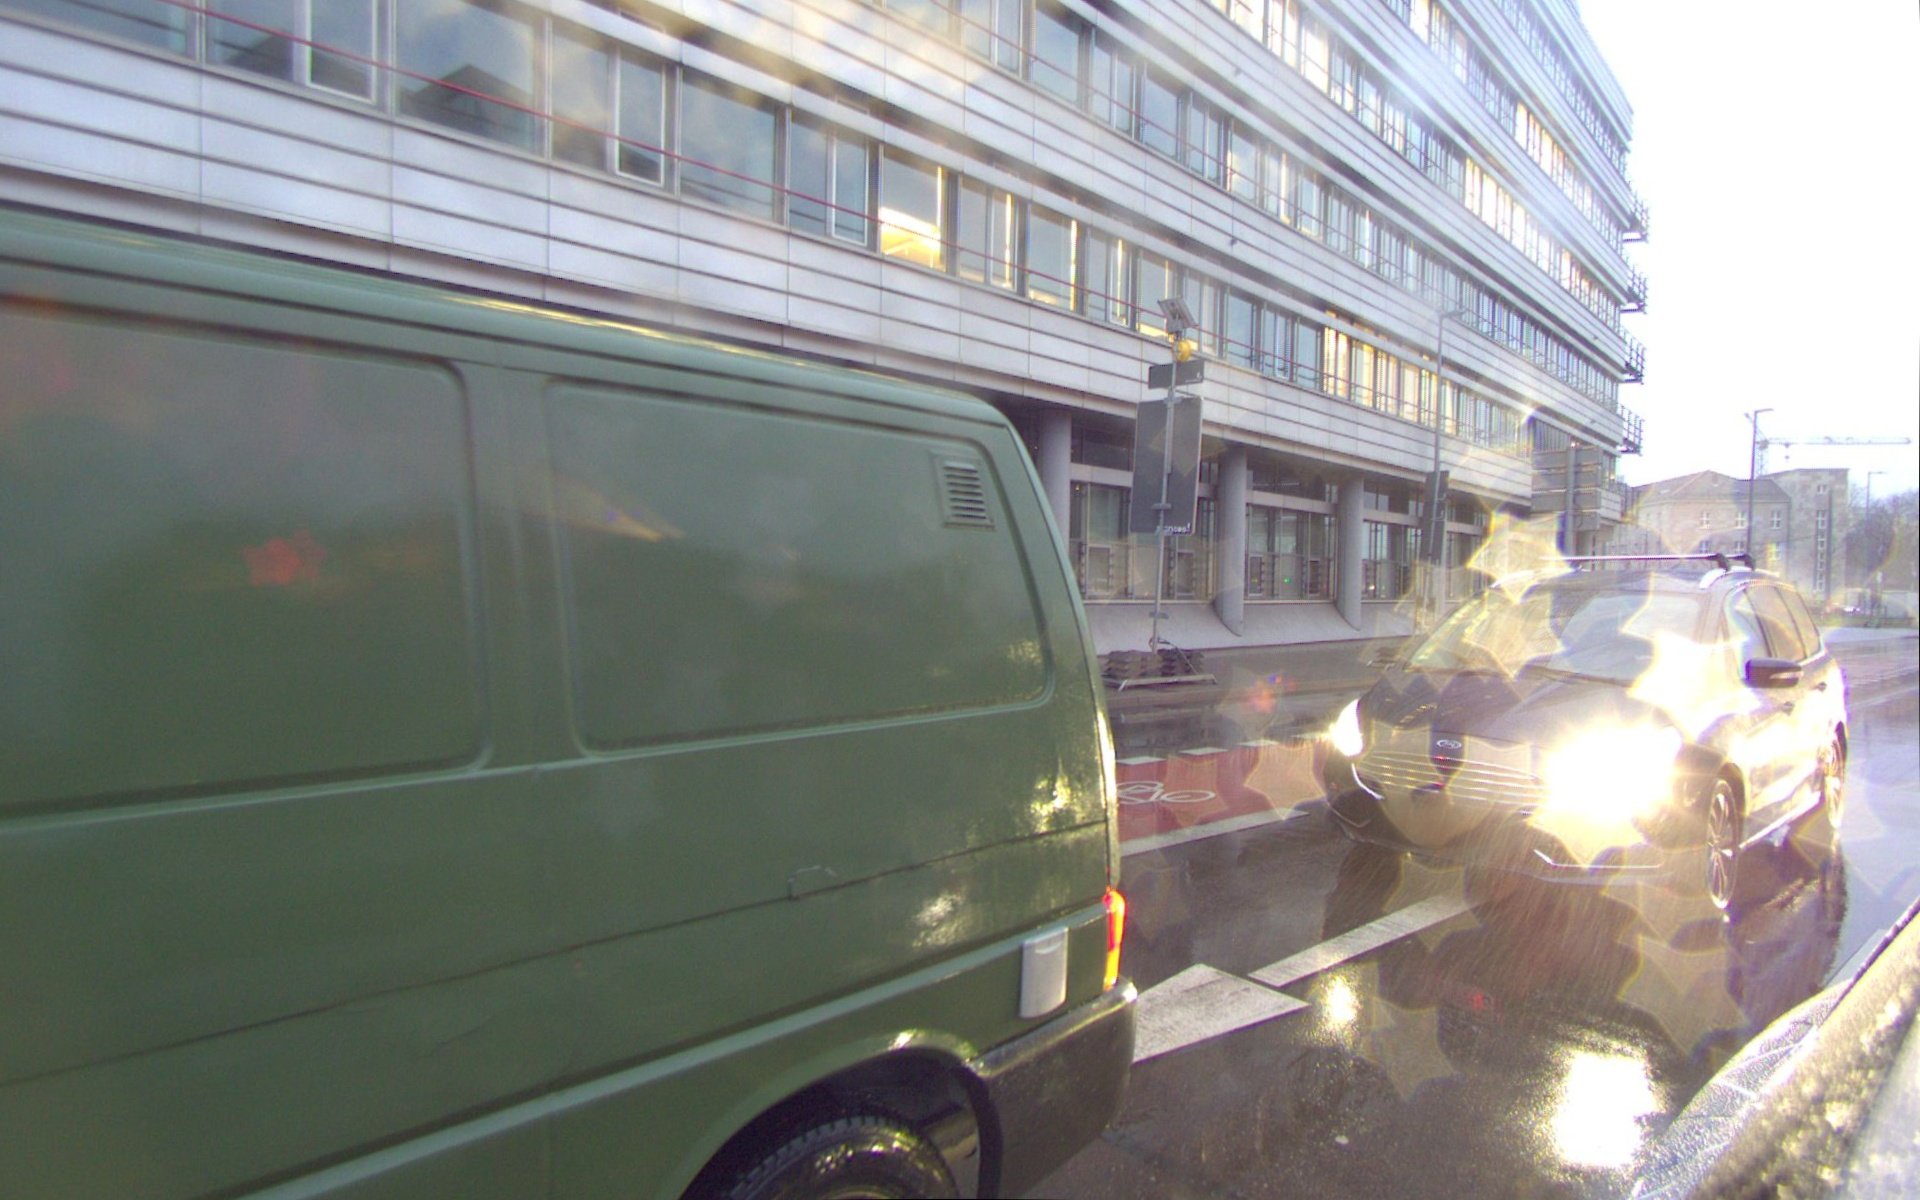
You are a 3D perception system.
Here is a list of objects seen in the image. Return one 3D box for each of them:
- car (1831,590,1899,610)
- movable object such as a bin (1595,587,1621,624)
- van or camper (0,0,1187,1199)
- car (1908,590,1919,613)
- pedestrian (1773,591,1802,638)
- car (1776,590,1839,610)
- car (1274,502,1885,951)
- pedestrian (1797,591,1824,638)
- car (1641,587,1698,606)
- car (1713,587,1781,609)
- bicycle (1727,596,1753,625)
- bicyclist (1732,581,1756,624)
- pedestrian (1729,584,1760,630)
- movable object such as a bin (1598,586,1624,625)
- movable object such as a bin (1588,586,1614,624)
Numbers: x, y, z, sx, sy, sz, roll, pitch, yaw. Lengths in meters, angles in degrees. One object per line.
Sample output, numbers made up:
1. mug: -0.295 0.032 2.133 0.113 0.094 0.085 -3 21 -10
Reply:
1. car: 74.205 -0.020 83.007 1.743 1.556 3.775 1 1 -24
2. movable object such as a bin: 25.413 0.212 39.671 0.826 1.446 0.665 0 1 -44
3. van or camper: -1.758 0.382 1.246 4.341 1.931 1.760 0 0 -41
4. car: 76.503 0.159 78.517 1.743 1.730 3.932 0 1 -26
5. pedestrian: 31.482 0.540 38.500 0.870 1.723 0.650 0 3 -44
6. car: 72.795 -0.028 86.982 1.743 1.556 3.775 1 1 -24
7. car: 4.098 0.509 6.338 4.587 1.834 1.887 0 0 -39
8. pedestrian: 31.934 0.529 37.978 0.870 1.689 0.615 0 3 -44
9. car: 68.525 -0.370 97.791 1.958 1.693 4.013 0 1 -24
10. car: 70.979 -0.198 91.356 1.958 1.782 4.386 0 1 -24
11. bicycle: 33.956 0.428 44.046 0.680 1.213 1.733 2 2 45
12. bicyclist: 34.007 0.098 43.907 0.793 1.820 0.670 0 2 -45
13. pedestrian: 30.954 0.276 39.938 0.953 1.722 0.746 0 4 -44
14. movable object such as a bin: 25.987 0.211 40.405 0.826 1.495 0.665 0 1 -44
15. movable object such as a bin: 24.753 0.196 39.086 0.826 1.446 0.665 0 1 -44
